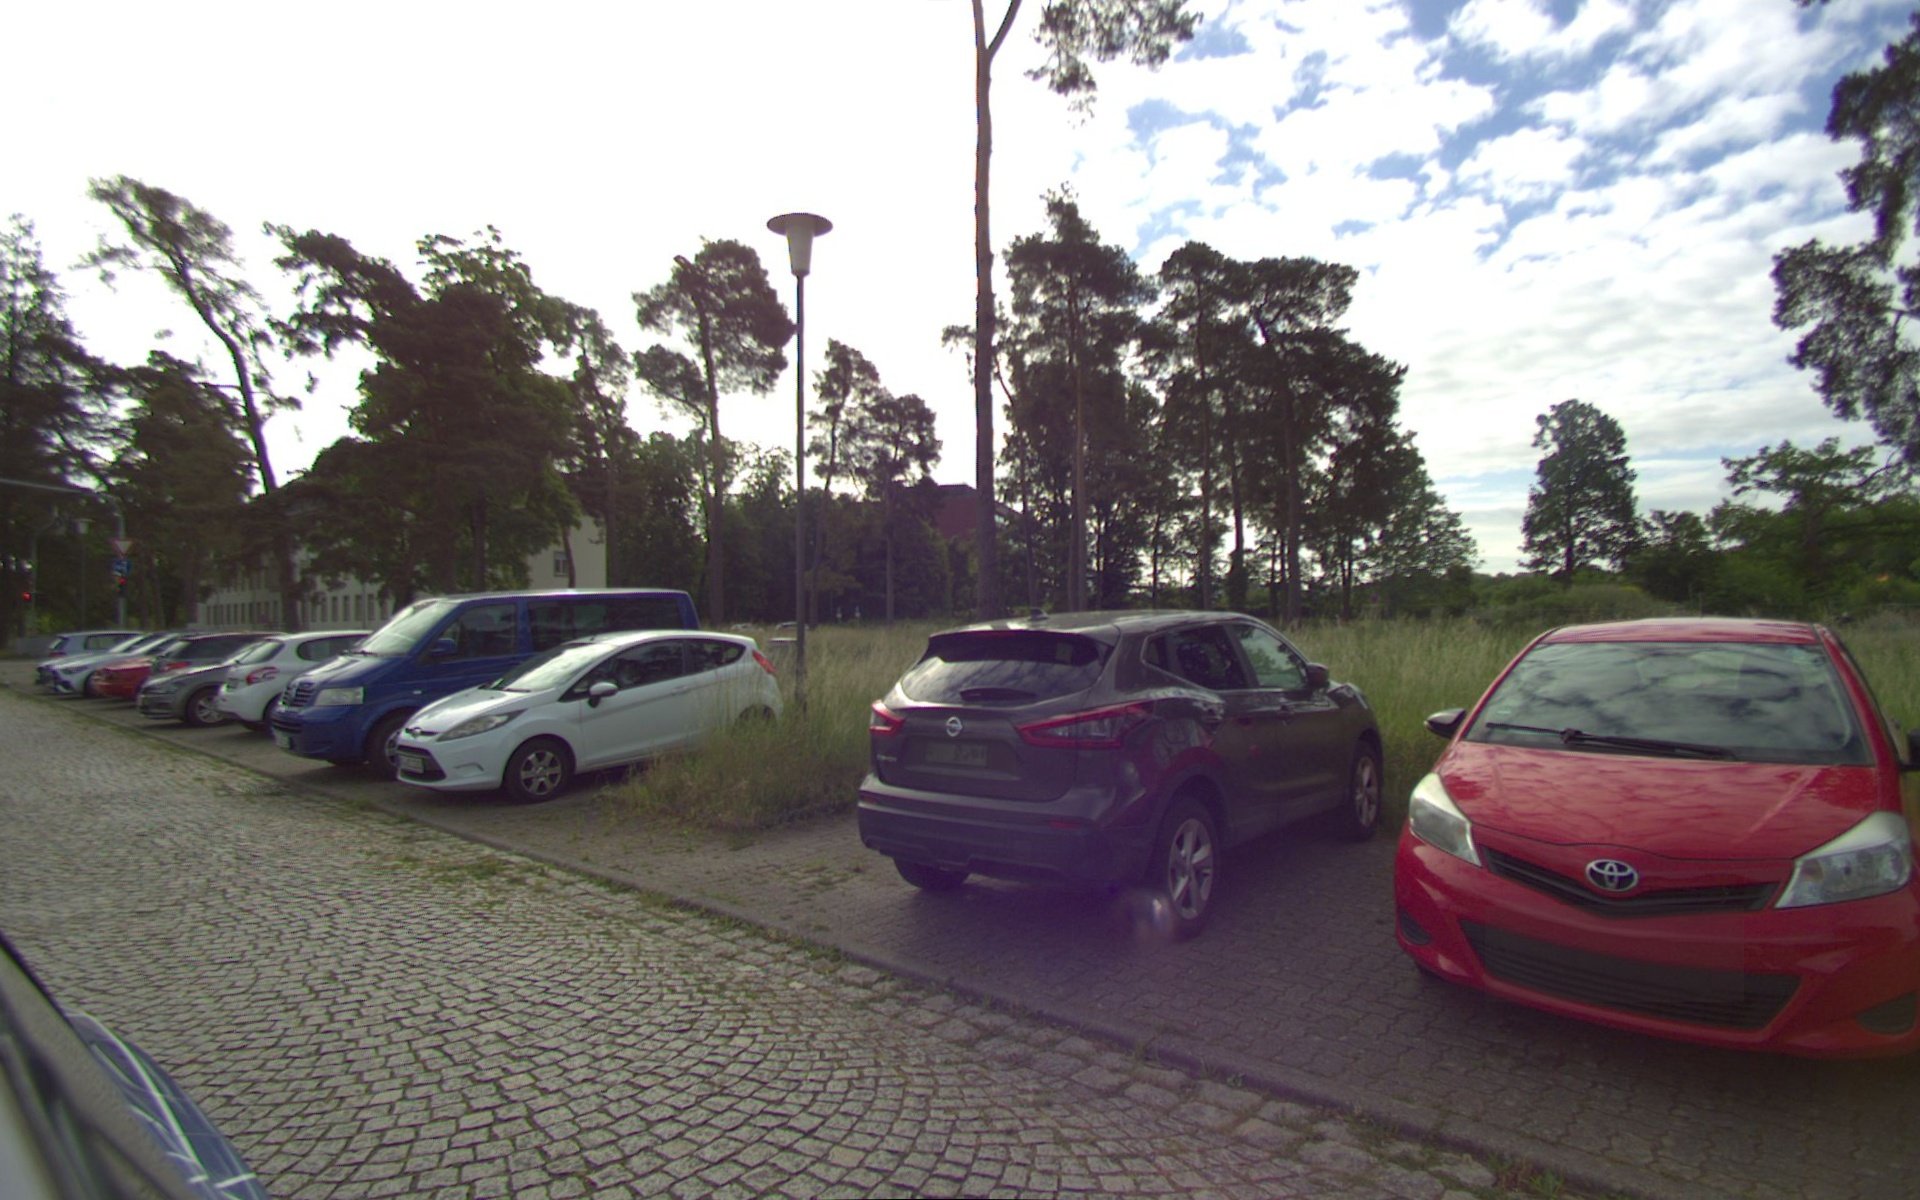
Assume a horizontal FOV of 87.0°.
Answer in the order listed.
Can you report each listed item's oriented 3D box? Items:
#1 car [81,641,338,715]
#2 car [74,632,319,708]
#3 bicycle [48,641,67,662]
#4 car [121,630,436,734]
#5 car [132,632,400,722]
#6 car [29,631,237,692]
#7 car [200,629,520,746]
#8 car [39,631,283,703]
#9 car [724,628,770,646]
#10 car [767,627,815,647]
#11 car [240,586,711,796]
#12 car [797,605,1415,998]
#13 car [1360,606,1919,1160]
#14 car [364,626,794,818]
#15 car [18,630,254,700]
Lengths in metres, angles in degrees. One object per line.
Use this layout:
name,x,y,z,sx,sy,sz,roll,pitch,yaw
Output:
car,-15.681,1.559,21.306,1.763,1.293,4.088,-2,-2,41
car,-17.295,1.522,23.082,1.854,1.466,4.209,-2,-2,41
bicycle,-48.493,2.738,54.350,1.415,1.082,0.491,-2,1,39
car,-11.633,1.319,17.492,1.731,1.492,4.258,-3,-2,43
car,-13.453,1.412,19.788,1.755,1.492,4.044,-2,-2,42
car,-22.938,1.652,28.200,1.827,1.481,4.282,-1,-1,42
car,-9.269,1.255,15.846,1.842,1.513,3.962,-3,-2,43
car,-19.173,1.538,24.439,1.949,1.466,4.389,-1,-1,42
car,-20.135,3.492,95.635,1.718,1.622,3.998,0,0,45
car,-15.057,3.261,90.198,1.717,1.622,4.000,0,0,43
car,-5.531,0.901,12.084,2.037,1.995,4.661,-2,-2,40
car,1.177,0.851,6.282,1.953,1.587,4.026,-2,-2,40
car,3.394,0.797,4.585,1.760,1.497,3.776,-2,-2,41
car,-3.684,1.059,10.291,1.724,1.505,3.756,-2,-2,39
car,-21.202,1.603,26.196,1.868,1.548,4.458,-1,-1,38
